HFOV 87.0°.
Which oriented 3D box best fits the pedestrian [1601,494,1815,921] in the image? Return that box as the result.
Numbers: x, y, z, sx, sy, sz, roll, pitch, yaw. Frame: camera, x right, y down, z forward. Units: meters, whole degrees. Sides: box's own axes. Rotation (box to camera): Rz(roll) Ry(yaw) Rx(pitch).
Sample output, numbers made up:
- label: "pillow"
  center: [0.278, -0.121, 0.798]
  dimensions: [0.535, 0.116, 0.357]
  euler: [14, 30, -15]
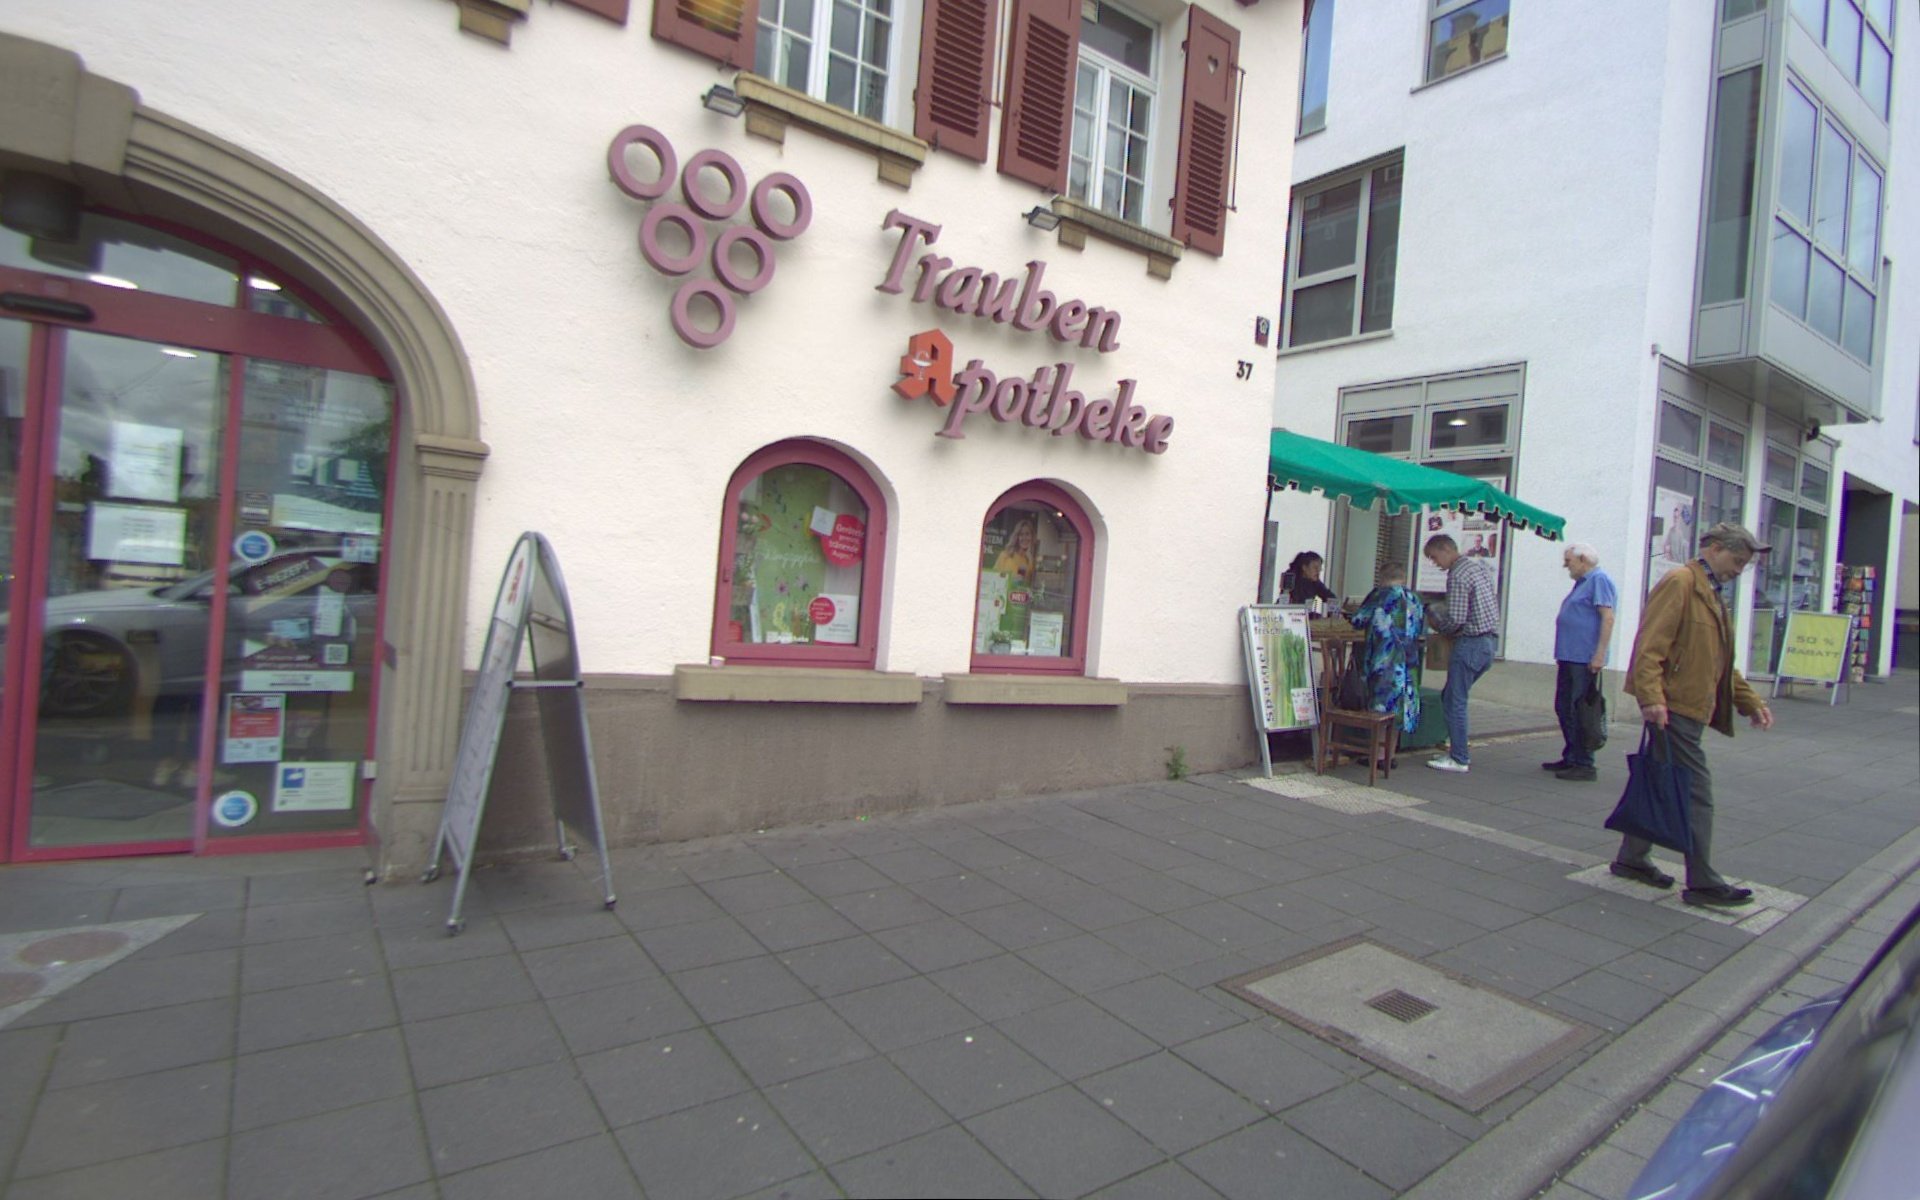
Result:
- label: "pedestrian"
  center: [3.573, 0.442, 4.827]
  dimensions: [0.674, 1.823, 0.776]
  euler: [4, 2, 42]

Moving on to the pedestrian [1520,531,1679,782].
- label: "pedestrian"
  center: [4.754, 0.395, 7.562]
  dimensions: [0.613, 1.788, 0.704]
  euler: [2, 2, -9]

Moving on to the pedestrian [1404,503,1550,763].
- label: "pedestrian"
  center: [3.967, 0.226, 7.828]
  dimensions: [0.691, 1.880, 0.779]
  euler: [2, 2, 8]

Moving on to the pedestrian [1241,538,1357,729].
- label: "pedestrian"
  center: [3.029, 0.275, 9.072]
  dimensions: [0.688, 1.632, 0.626]
  euler: [1, 2, -30]

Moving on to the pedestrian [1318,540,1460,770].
- label: "pedestrian"
  center: [3.217, 0.378, 7.609]
  dimensions: [0.688, 1.632, 0.626]
  euler: [1, 2, -30]
